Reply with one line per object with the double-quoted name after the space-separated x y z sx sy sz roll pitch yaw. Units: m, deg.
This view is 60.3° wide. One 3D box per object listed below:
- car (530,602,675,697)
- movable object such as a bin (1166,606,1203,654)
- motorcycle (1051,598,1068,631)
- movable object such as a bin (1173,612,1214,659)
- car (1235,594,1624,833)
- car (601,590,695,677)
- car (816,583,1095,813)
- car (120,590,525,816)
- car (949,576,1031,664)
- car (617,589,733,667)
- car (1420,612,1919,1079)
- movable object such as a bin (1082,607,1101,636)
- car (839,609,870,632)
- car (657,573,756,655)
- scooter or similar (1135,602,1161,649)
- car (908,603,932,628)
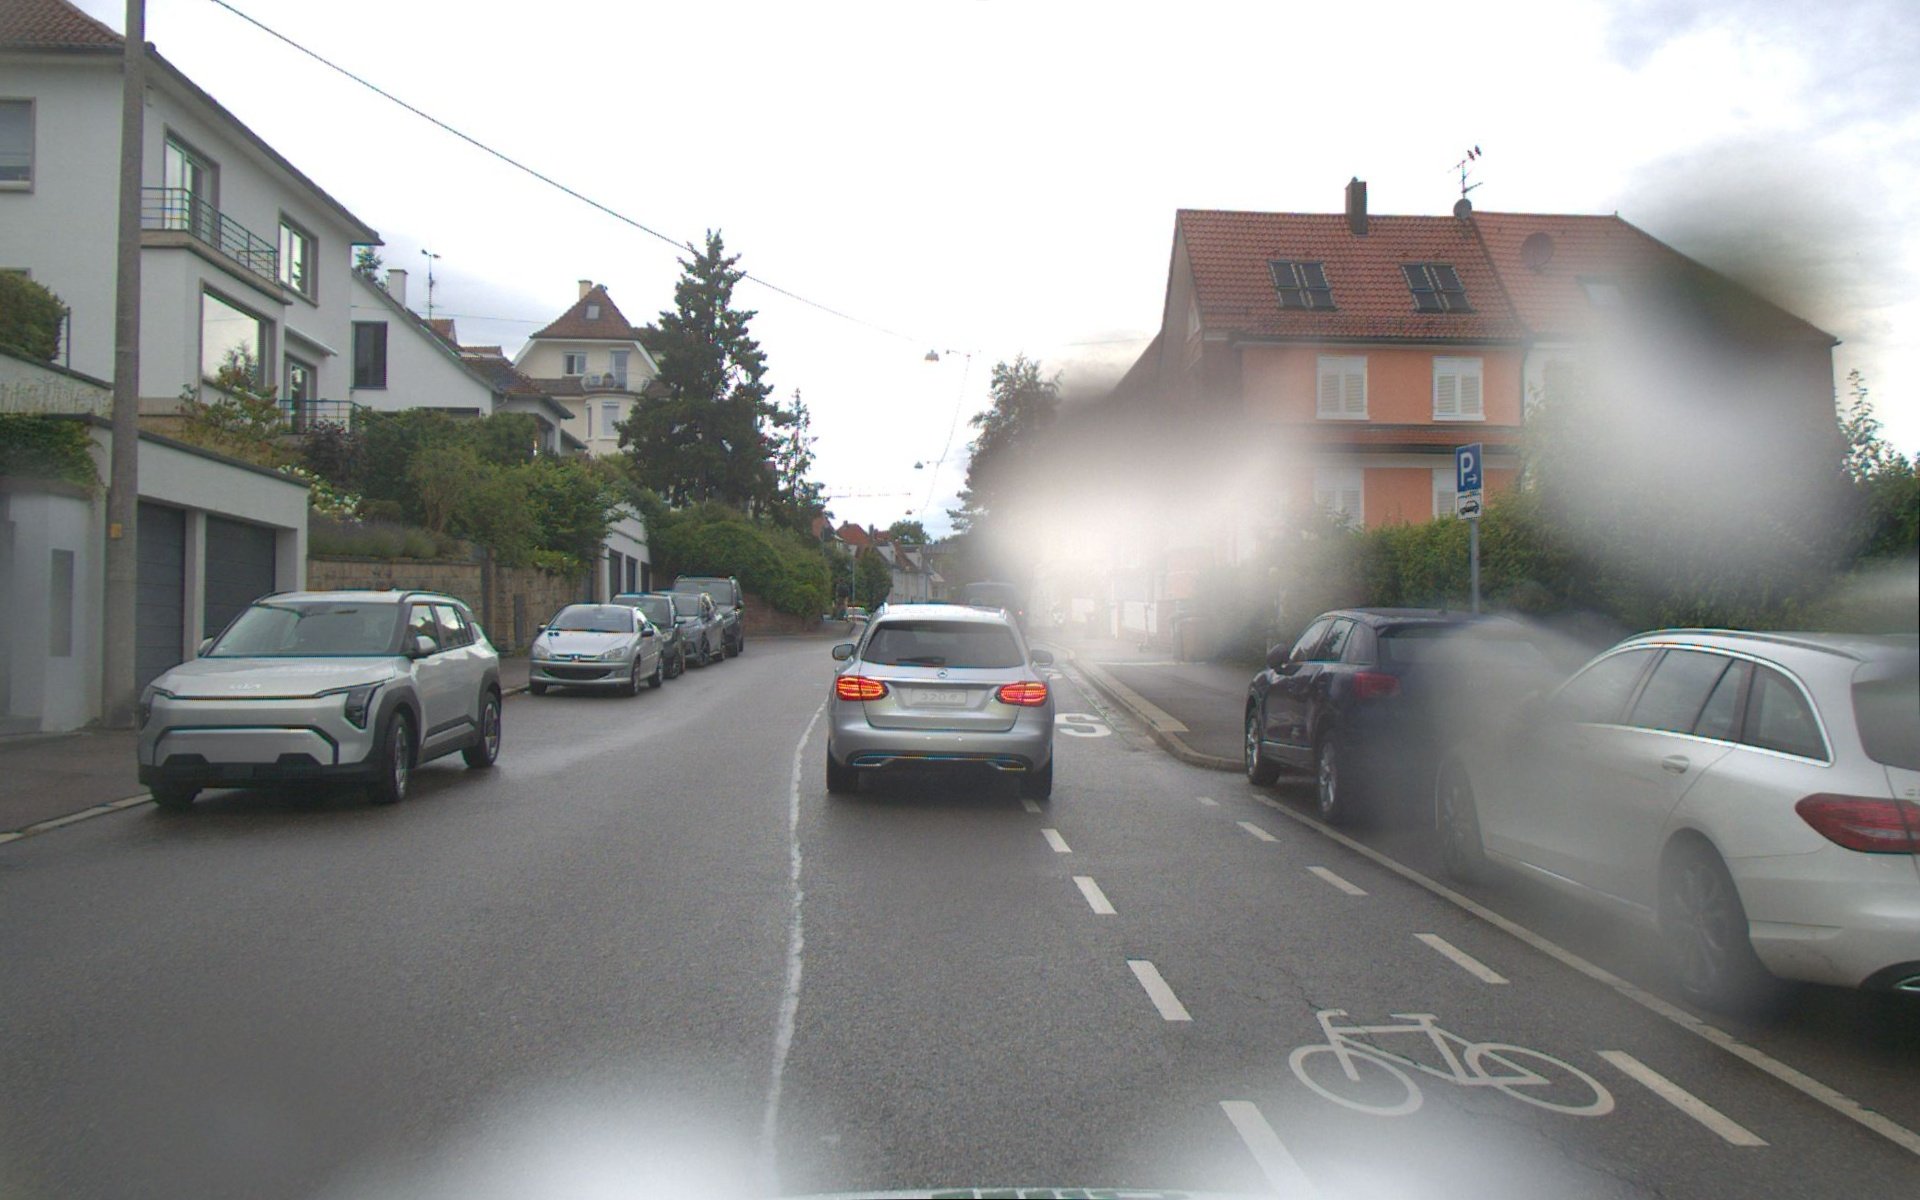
-5.678 0.738 26.645 1.577 1.361 3.840 1 0 -2 "car"
5.094 0.677 37.527 0.697 1.048 0.757 -1 0 -3 "movable object such as a bin"
4.004 0.584 66.806 0.570 1.283 2.332 -1 0 1 "motorcycle"
5.020 0.758 35.574 0.564 0.986 0.662 2 0 -34 "movable object such as a bin"
3.476 0.762 13.100 1.719 1.557 4.204 1 0 -2 "car"
-5.922 0.599 31.649 1.468 1.550 3.155 1 0 -6 "car"
-0.044 0.686 13.896 1.942 1.581 4.297 2 0 0 "car"
-5.080 0.715 13.864 1.860 1.595 4.236 0 0 -2 "car"
0.716 0.429 39.921 1.787 1.915 4.096 -3 1 1 "car"
-6.137 0.561 36.044 1.860 1.541 4.341 2 0 -2 "car"
3.706 0.823 7.659 1.679 1.430 4.606 1 0 -2 "car"
4.537 0.745 57.087 0.538 0.952 0.633 -2 0 -2 "movable object such as a bin"
-7.386 1.401 115.626 2.075 1.497 4.015 1 0 -3 "car"
-6.343 0.325 41.934 2.088 1.892 5.587 2 0 -5 "car"
5.134 0.676 45.203 0.678 1.245 1.300 1 0 6 "scooter or similar"
-4.217 1.586 173.531 2.417 2.442 3.999 -2 0 -2 "car"
